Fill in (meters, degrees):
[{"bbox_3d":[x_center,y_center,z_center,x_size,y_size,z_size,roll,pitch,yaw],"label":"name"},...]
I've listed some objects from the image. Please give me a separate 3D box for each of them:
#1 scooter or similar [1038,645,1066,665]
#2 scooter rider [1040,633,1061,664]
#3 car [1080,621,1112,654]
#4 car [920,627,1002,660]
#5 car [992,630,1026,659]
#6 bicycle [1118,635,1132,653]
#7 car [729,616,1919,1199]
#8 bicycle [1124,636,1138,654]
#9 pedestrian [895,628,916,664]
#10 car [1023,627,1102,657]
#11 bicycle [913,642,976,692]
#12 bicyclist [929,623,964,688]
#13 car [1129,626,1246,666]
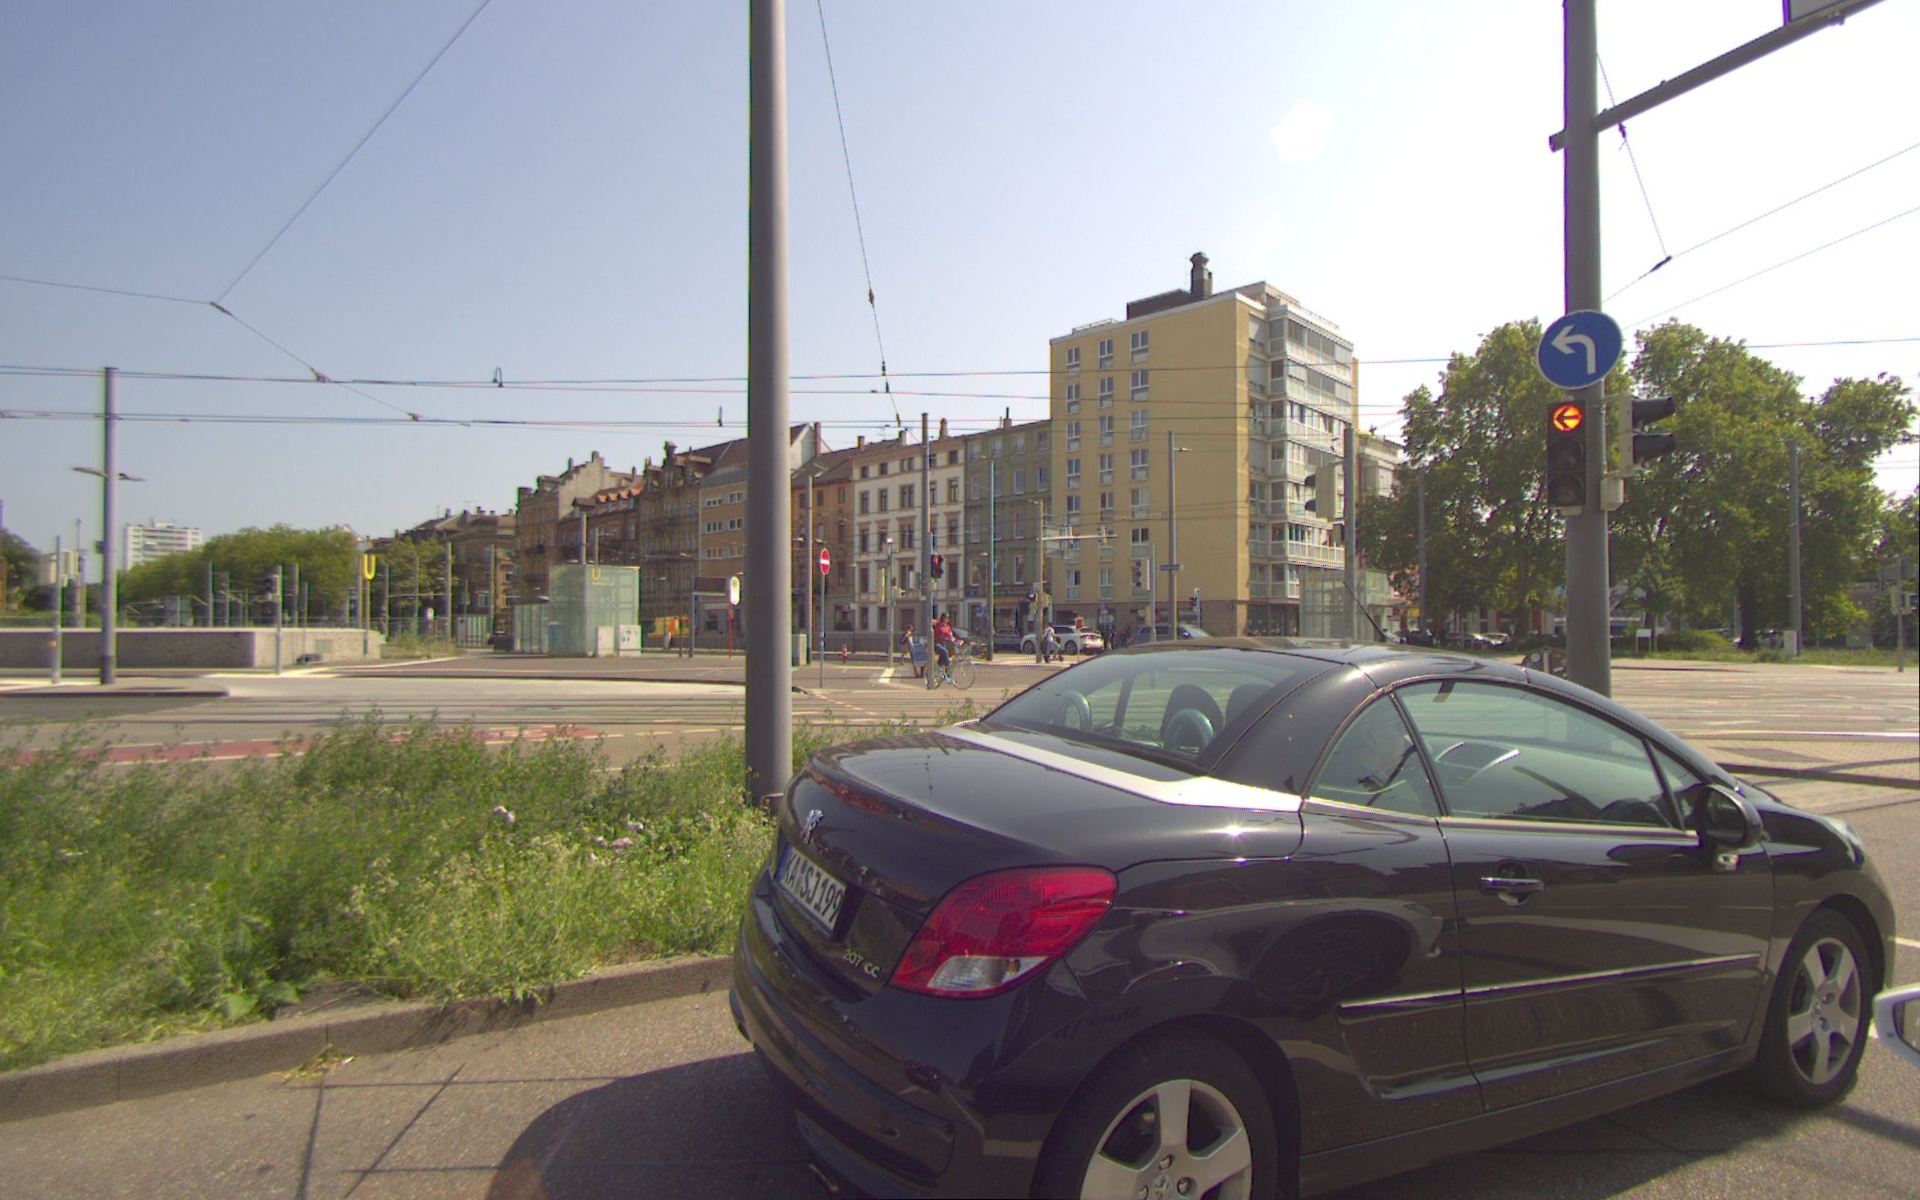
[{"bbox_3d":[4.026,2.391,43.968,1.132,0.835,0.517,1,-2,-35],"label":"scooter or similar"},{"bbox_3d":[3.964,2.126,44.051,0.602,1.371,0.682,1,-2,-33],"label":"scooter rider"},{"bbox_3d":[8.425,2.278,61.817,1.767,1.951,4.003,0,-2,10],"label":"car"},{"bbox_3d":[0.010,2.202,51.375,4.149,1.581,1.730,-1,-2,43],"label":"car"},{"bbox_3d":[3.261,2.931,66.210,1.767,1.843,4.003,0,-2,10],"label":"car"},{"bbox_3d":[11.329,3.029,69.079,0.680,1.220,2.793,0,-2,5],"label":"bicycle"},{"bbox_3d":[1.310,0.792,3.279,3.731,1.406,1.760,1,0,-26],"label":"car"},{"bbox_3d":[11.618,3.041,68.315,0.680,1.220,3.265,0,-2,5],"label":"bicycle"},{"bbox_3d":[-2.374,1.982,43.643,0.843,1.563,0.742,1,-2,-11],"label":"pedestrian"},{"bbox_3d":[5.727,2.343,56.515,4.277,1.639,1.744,-1,-2,45],"label":"car"},{"bbox_3d":[-0.393,1.574,23.901,0.499,1.108,1.918,1,-2,-35],"label":"bicycle"},{"bbox_3d":[-0.334,1.316,23.956,0.632,1.529,0.553,1,-2,-36],"label":"bicyclist"},{"bbox_3d":[9.505,1.890,42.126,4.475,1.621,1.763,-1,-2,40],"label":"car"}]
